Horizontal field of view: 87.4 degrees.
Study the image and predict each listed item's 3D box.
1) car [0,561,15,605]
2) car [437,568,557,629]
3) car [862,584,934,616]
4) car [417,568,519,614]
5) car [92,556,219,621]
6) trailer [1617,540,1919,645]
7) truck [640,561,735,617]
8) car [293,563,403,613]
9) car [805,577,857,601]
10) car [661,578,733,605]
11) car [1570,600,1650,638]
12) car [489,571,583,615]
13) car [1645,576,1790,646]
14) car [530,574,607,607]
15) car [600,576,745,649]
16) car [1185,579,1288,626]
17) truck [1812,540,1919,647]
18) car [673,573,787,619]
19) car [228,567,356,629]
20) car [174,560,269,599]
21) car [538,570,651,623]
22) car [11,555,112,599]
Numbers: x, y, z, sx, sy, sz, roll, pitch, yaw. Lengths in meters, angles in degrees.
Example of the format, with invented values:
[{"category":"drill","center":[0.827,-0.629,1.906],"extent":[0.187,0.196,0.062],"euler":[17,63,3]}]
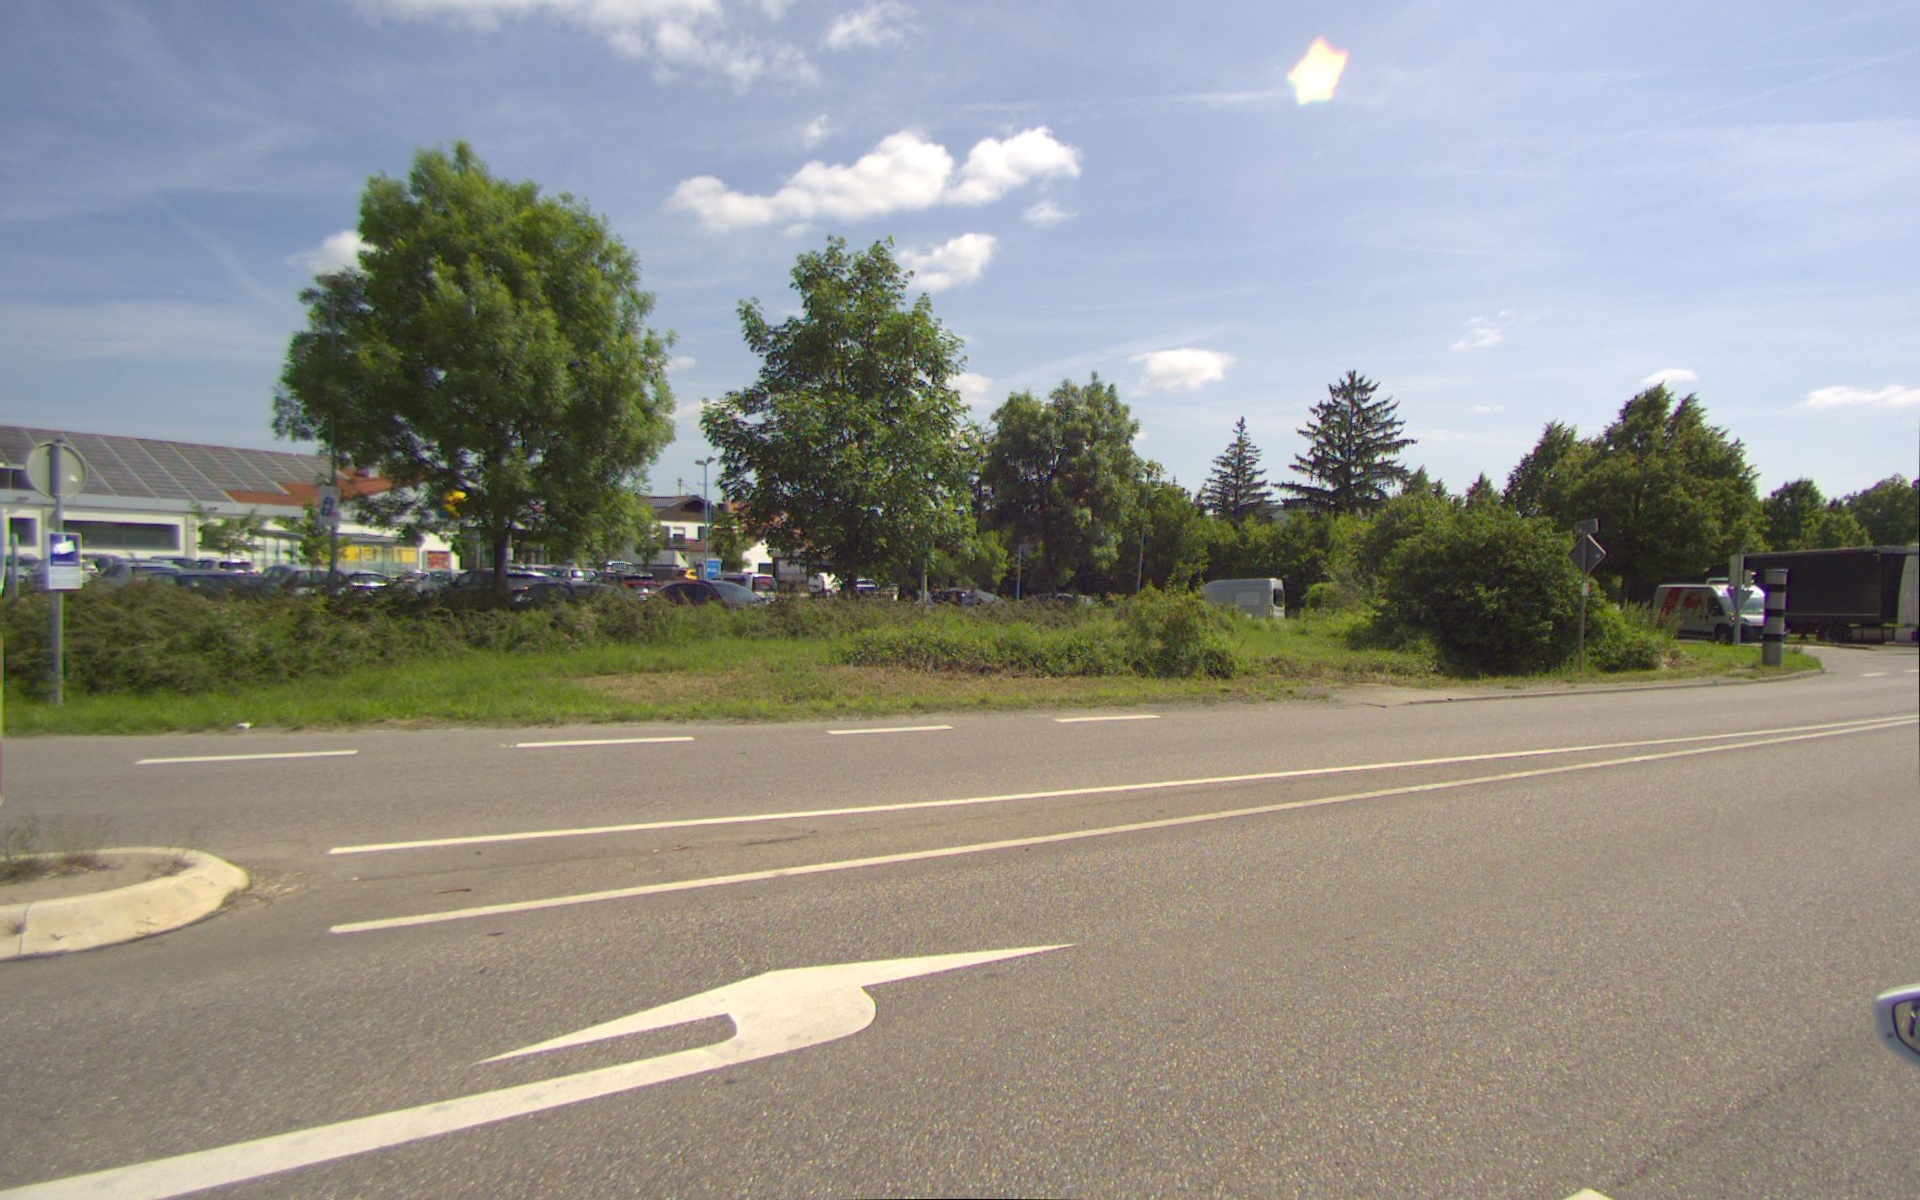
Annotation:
[{"category":"car","center":[-33.855,-0.645,34.020],"extent":[3.933,1.461,1.880],"euler":[2,1,34]},{"category":"car","center":[-14.650,-0.071,31.707],"extent":[3.939,1.697,1.903],"euler":[3,2,40]},{"category":"car","center":[-3.502,0.018,57.199],"extent":[1.883,1.662,3.984],"euler":[2,0,37]},{"category":"car","center":[-18.087,-0.338,36.878],"extent":[3.936,1.549,1.772],"euler":[2,0,37]},{"category":"car","center":[-23.312,-0.358,29.054],"extent":[4.353,1.698,1.858],"euler":[3,1,37]},{"category":"trailer","center":[37.111,-0.377,46.666],"extent":[2.746,4.116,13.710],"euler":[0,1,-8]},{"category":"truck","center":[-12.225,-0.500,45.071],"extent":[3.932,2.397,1.994],"euler":[2,0,34]},{"category":"car","center":[-20.307,-0.420,33.301],"extent":[3.936,1.549,1.772],"euler":[2,0,37]},{"category":"car","center":[-10.160,-0.867,79.568],"extent":[1.866,1.782,3.988],"euler":[2,0,34]},{"category":"car","center":[-17.071,-0.545,65.364],"extent":[1.849,1.562,4.243],"euler":[2,0,36]},{"category":"car","center":[32.292,0.898,50.058],"extent":[1.834,1.773,4.112],"euler":[1,0,10]},{"category":"car","center":[-16.377,-0.278,38.698],"extent":[3.941,1.549,1.770],"euler":[2,0,41]},{"category":"car","center":[31.082,0.447,41.533],"extent":[2.081,2.690,5.989],"euler":[0,0,7]},{"category":"car","center":[-20.192,-0.492,51.806],"extent":[4.193,1.562,1.871],"euler":[2,0,39]},{"category":"car","center":[-7.385,0.283,25.629],"extent":[3.941,1.679,1.686],"euler":[2,0,41]},{"category":"car","center":[13.778,0.096,50.232],"extent":[4.524,2.209,1.992],"euler":[2,1,37]},{"category":"truck","center":[38.087,-0.278,40.058],"extent":[2.748,4.116,5.832],"euler":[0,1,-11]},{"category":"car","center":[-9.186,-0.161,40.052],"extent":[4.353,1.717,1.994],"euler":[1,0,34]},{"category":"car","center":[-18.634,-0.089,27.975],"extent":[4.081,1.522,1.776],"euler":[3,2,38]},{"category":"car","center":[-29.959,-0.837,40.730],"extent":[3.933,1.461,1.880],"euler":[2,1,34]},{"category":"car","center":[-12.702,-0.124,34.833],"extent":[3.939,1.711,1.918],"euler":[2,0,40]},{"category":"car","center":[-32.887,-0.837,36.742],"extent":[3.933,1.461,1.880],"euler":[2,1,34]}]
